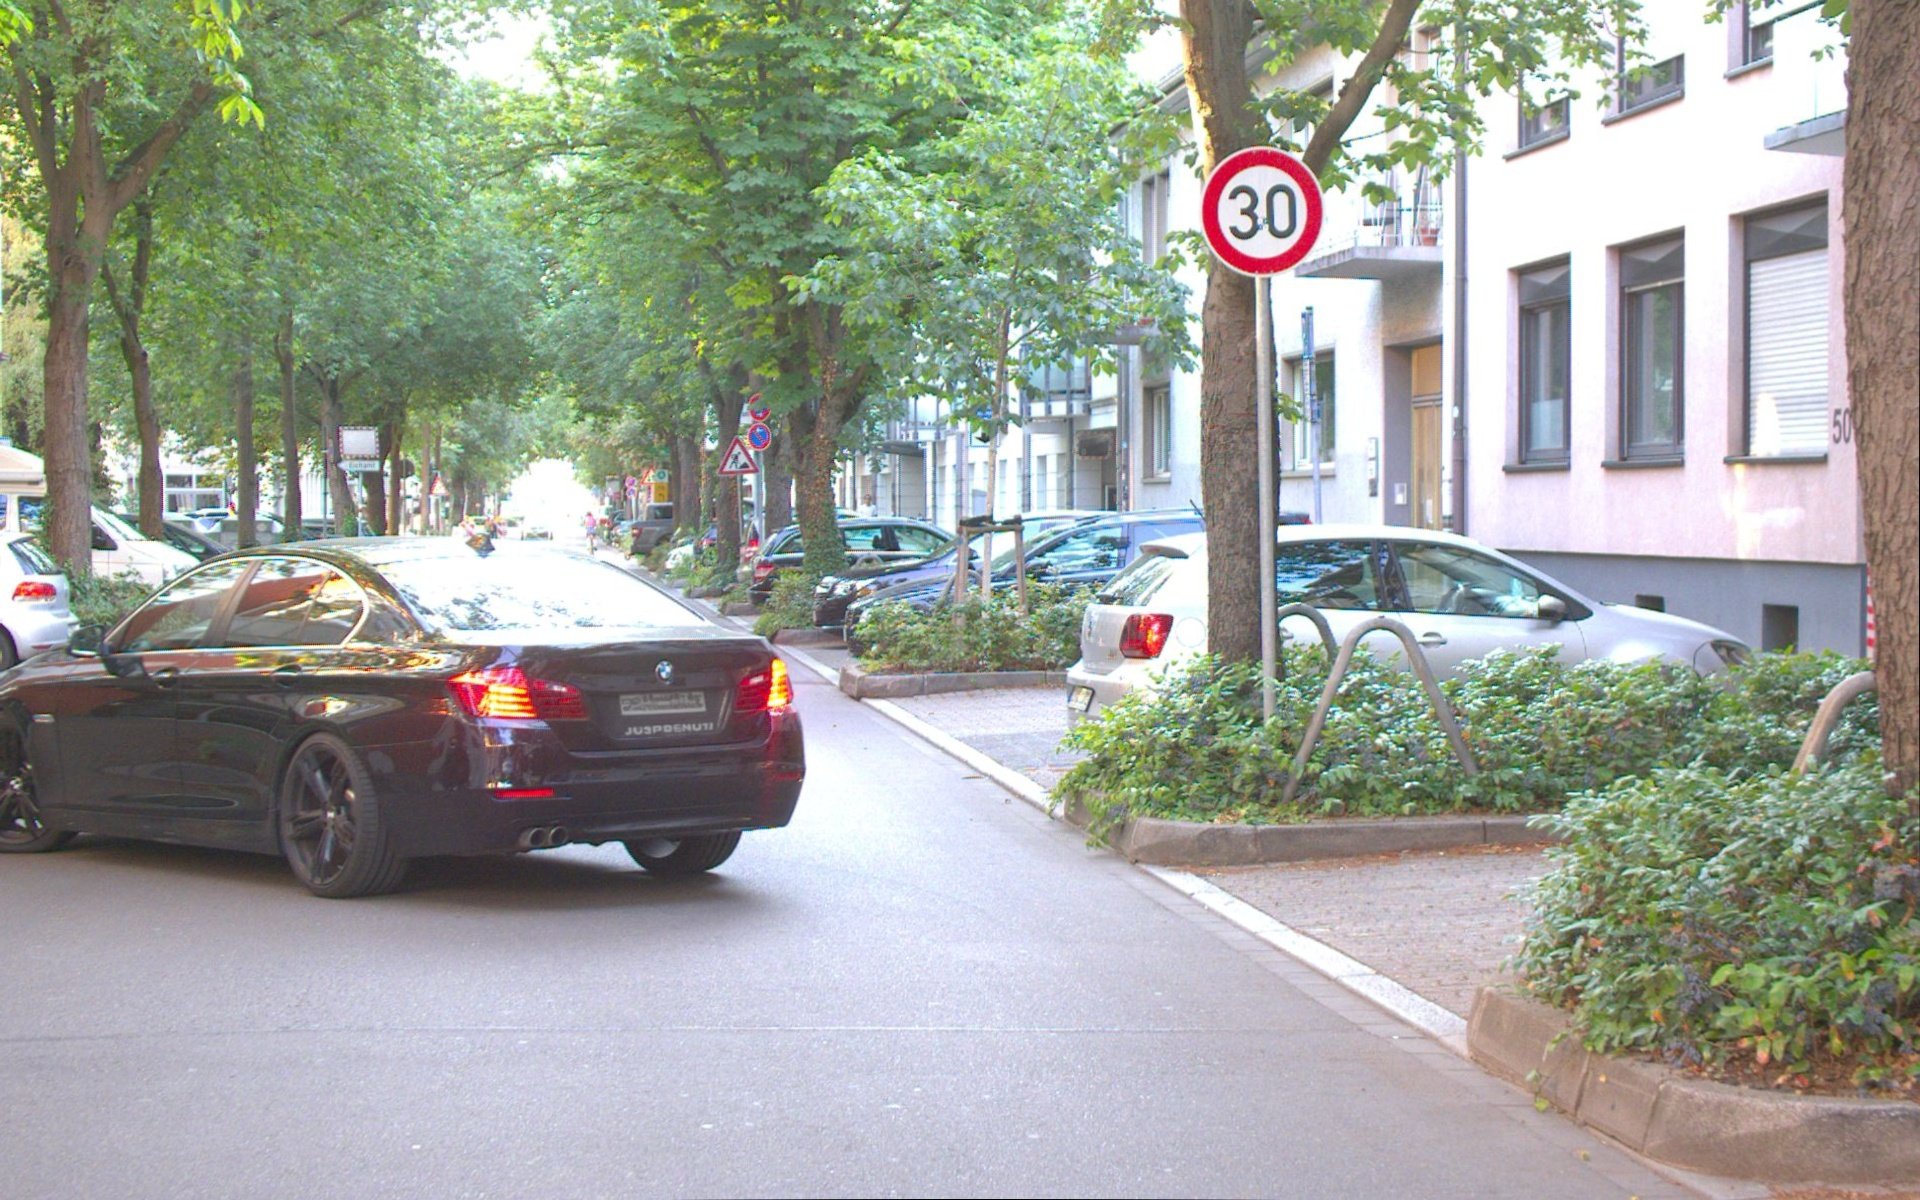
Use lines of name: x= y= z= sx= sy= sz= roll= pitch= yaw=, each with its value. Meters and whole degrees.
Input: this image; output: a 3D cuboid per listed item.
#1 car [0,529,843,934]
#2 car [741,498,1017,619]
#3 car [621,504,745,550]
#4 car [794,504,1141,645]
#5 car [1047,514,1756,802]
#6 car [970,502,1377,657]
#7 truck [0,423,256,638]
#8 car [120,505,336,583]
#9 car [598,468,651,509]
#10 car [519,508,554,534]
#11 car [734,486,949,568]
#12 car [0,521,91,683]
car: x=-2.697 y=0.433 z=14.872 sx=1.763 sy=1.445 sz=4.666 roll=-1 pitch=2 yaw=-43
car: x=-1.156 y=-0.600 z=48.335 sx=3.656 sy=1.531 sz=1.566 roll=-2 pitch=2 yaw=-8
car: x=-8.400 y=-2.214 z=104.136 sx=3.656 sy=1.388 sz=1.566 roll=0 pitch=2 yaw=-8
car: x=0.060 y=-0.318 z=39.591 sx=3.791 sy=1.524 sz=1.566 roll=-1 pitch=2 yaw=-8
car: x=2.437 y=0.284 z=19.351 sx=3.656 sy=1.474 sz=1.566 roll=-1 pitch=2 yaw=-8
car: x=2.033 y=-0.220 z=33.145 sx=3.656 sy=1.388 sz=1.566 roll=-1 pitch=2 yaw=-8
truck: x=-10.927 y=-0.854 z=40.405 sx=4.998 sy=2.432 sz=1.916 roll=1 pitch=2 yaw=-5
car: x=-14.428 y=-1.120 z=67.948 sx=4.020 sy=1.466 sz=1.641 roll=1 pitch=1 yaw=-7
car: x=-13.127 y=-4.352 z=134.360 sx=1.993 sy=1.546 sz=4.001 roll=0 pitch=2 yaw=-7
car: x=-24.290 y=-4.554 z=197.213 sx=1.894 sy=1.470 sz=4.001 roll=0 pitch=2 yaw=-6
car: x=-2.129 y=-1.306 z=61.219 sx=3.656 sy=1.388 sz=1.566 roll=-1 pitch=2 yaw=-8
car: x=-10.332 y=-0.020 z=32.045 sx=4.131 sy=1.466 sz=1.641 roll=1 pitch=1 yaw=-7
